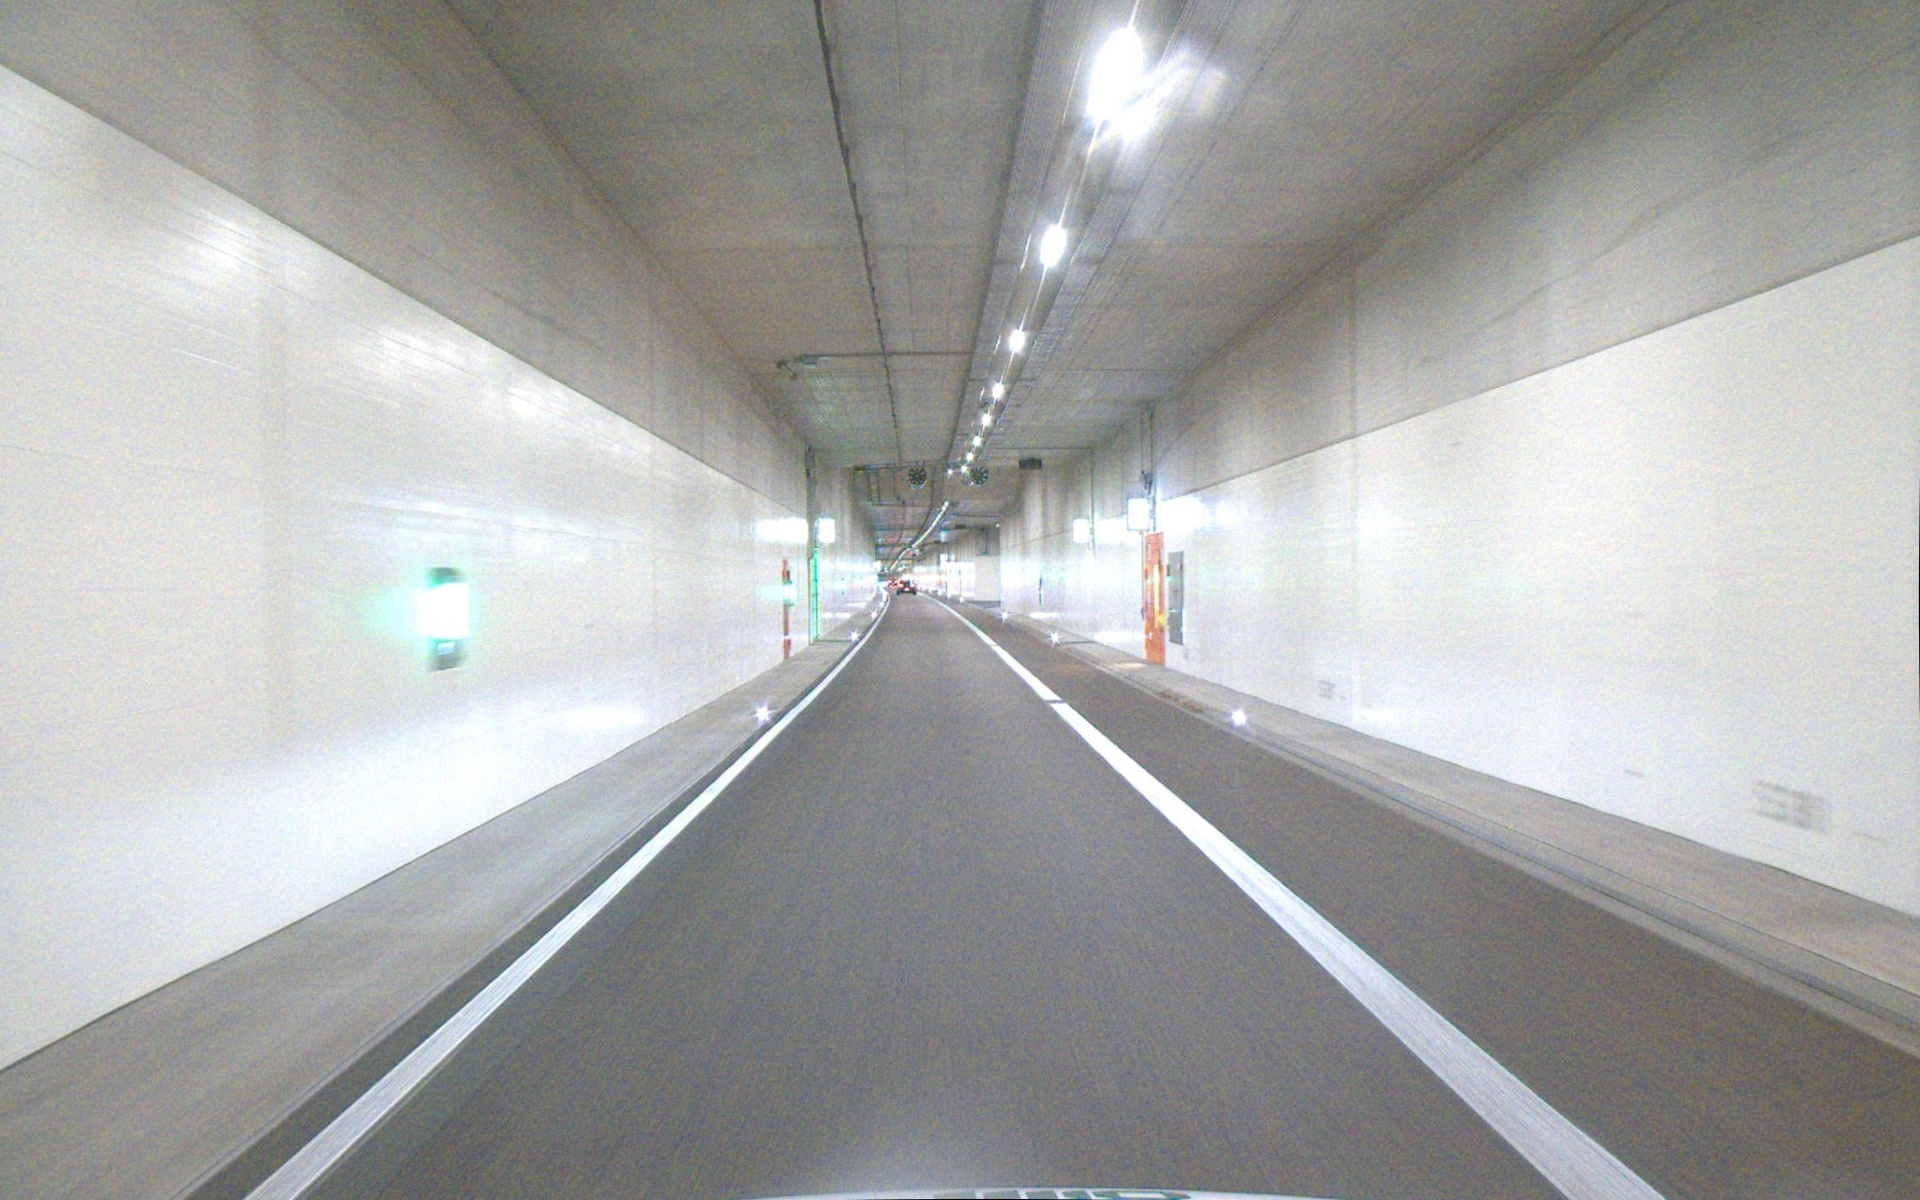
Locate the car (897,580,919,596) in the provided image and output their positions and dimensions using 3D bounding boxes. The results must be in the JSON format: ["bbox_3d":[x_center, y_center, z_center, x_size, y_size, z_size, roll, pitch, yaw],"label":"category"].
[{"bbox_3d":[-4.968,-1.141,156.428,1.954,1.445,3.998,-2,1,-3],"label":"car"}]
